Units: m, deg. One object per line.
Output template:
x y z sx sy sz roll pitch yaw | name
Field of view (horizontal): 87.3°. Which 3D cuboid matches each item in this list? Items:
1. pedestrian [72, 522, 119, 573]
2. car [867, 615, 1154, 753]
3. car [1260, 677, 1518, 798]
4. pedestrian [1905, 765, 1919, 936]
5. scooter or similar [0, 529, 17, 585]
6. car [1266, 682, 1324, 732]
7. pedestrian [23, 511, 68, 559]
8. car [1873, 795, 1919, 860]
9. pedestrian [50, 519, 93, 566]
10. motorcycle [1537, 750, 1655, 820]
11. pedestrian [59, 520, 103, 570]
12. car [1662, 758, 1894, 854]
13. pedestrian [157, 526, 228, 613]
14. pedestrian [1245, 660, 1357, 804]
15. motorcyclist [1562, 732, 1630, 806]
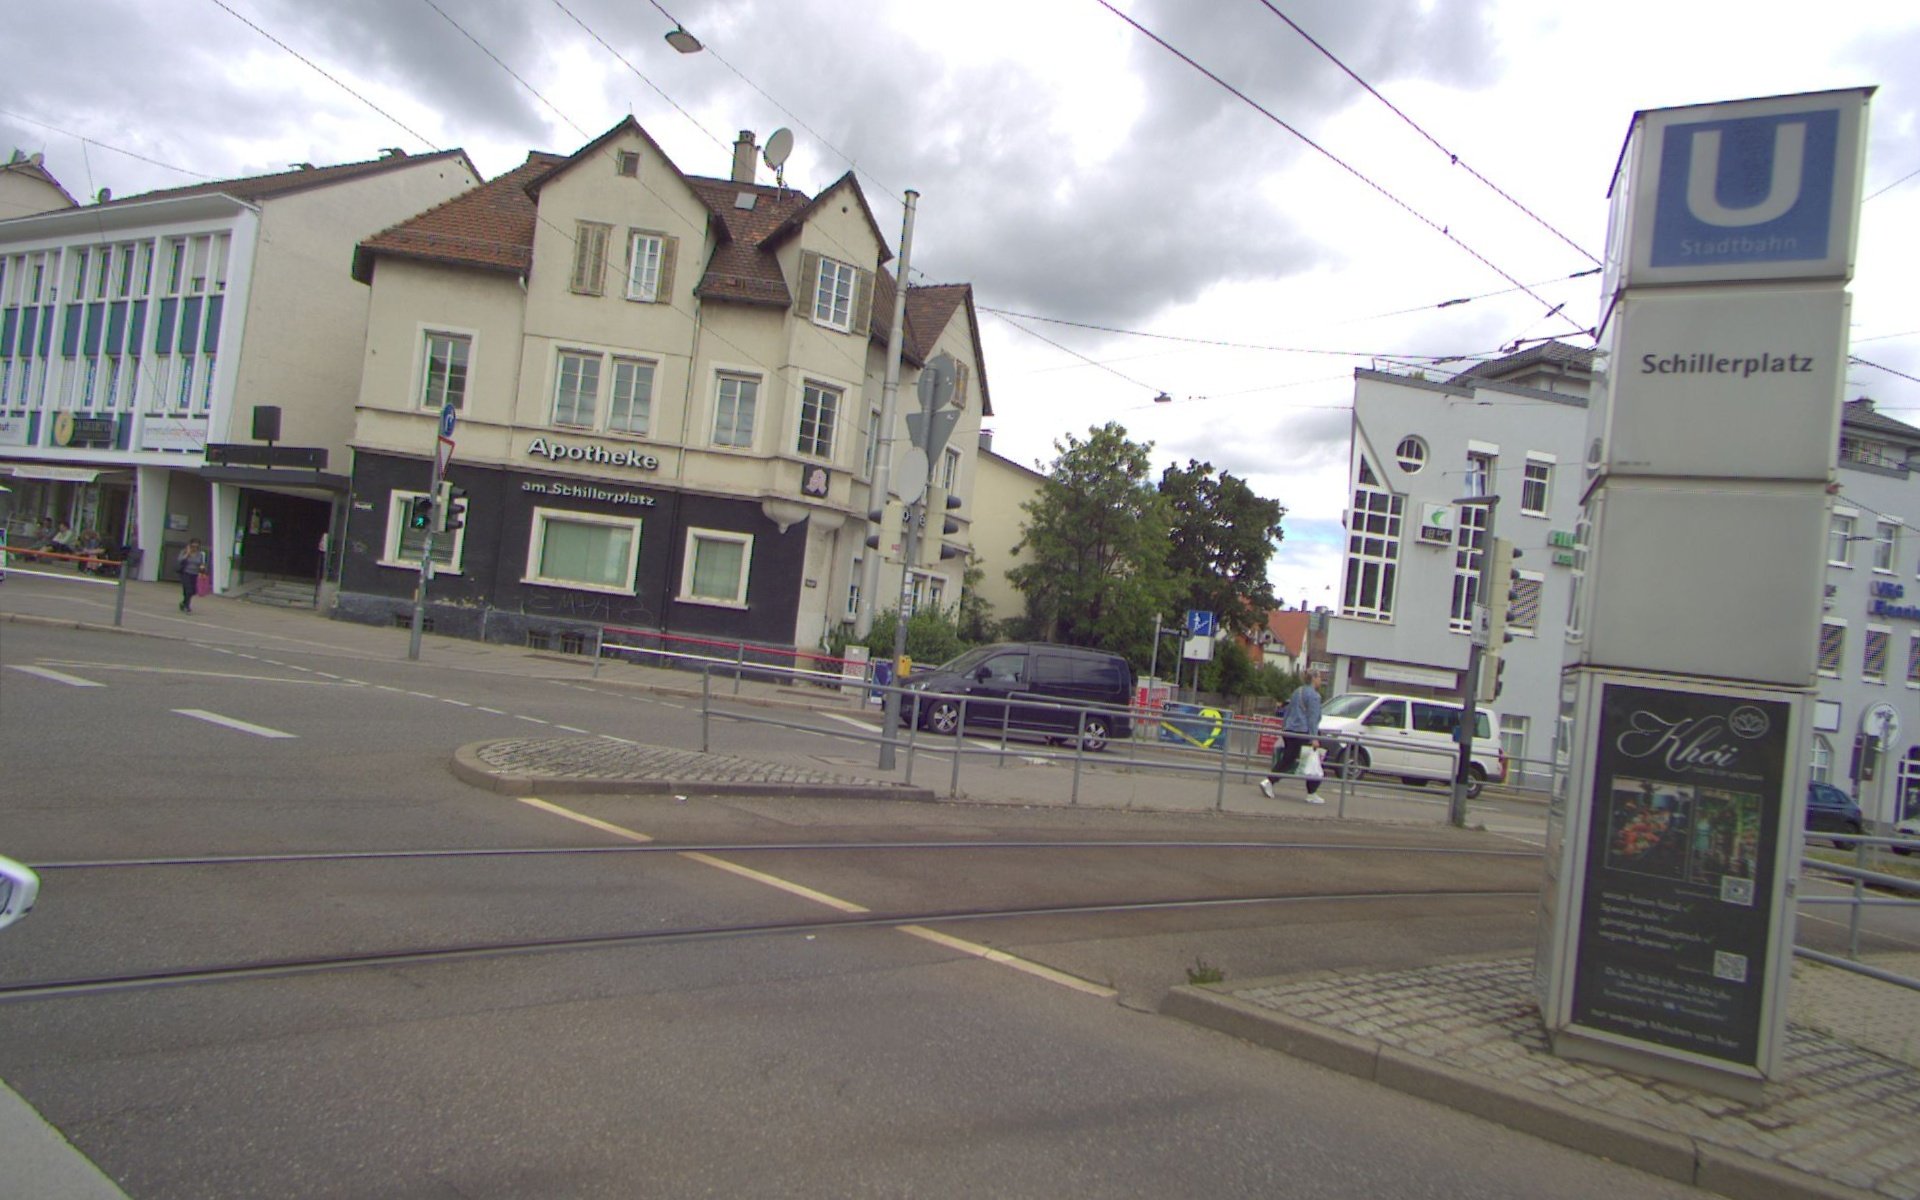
-23.436 -1.425 27.274 0.577 1.232 0.616 7 -4 22 | pedestrian
0.953 1.577 18.791 4.862 1.916 1.872 8 -2 -22 | car
9.236 2.955 21.736 4.852 1.916 1.876 8 -2 -15 | car
8.954 2.212 8.950 0.581 1.651 0.523 10 -4 -25 | pedestrian
-20.799 -0.960 21.579 1.186 1.146 0.315 7 -1 26 | scooter or similar
14.849 4.716 44.414 1.847 1.824 4.232 6 -3 25 | car
-26.380 -1.867 29.024 0.577 1.232 0.616 7 -4 22 | pedestrian
26.461 6.161 26.188 4.681 1.455 1.874 8 -3 -18 | car
-25.637 -1.649 29.036 0.577 1.234 0.615 7 -1 22 | pedestrian
14.469 4.203 22.902 2.119 1.242 0.886 8 -1 -9 | motorcycle
-24.012 -1.503 27.489 0.577 1.235 0.615 7 0 22 | pedestrian
20.077 5.056 24.739 4.712 1.462 1.877 10 -3 -14 | car
-15.958 -0.620 20.929 0.732 1.639 0.588 9 -3 -7 | pedestrian
4.346 1.667 12.842 0.797 1.666 0.883 8 -1 -26 | pedestrian
14.465 3.835 22.901 0.793 1.492 0.887 7 -1 -9 | motorcyclist
